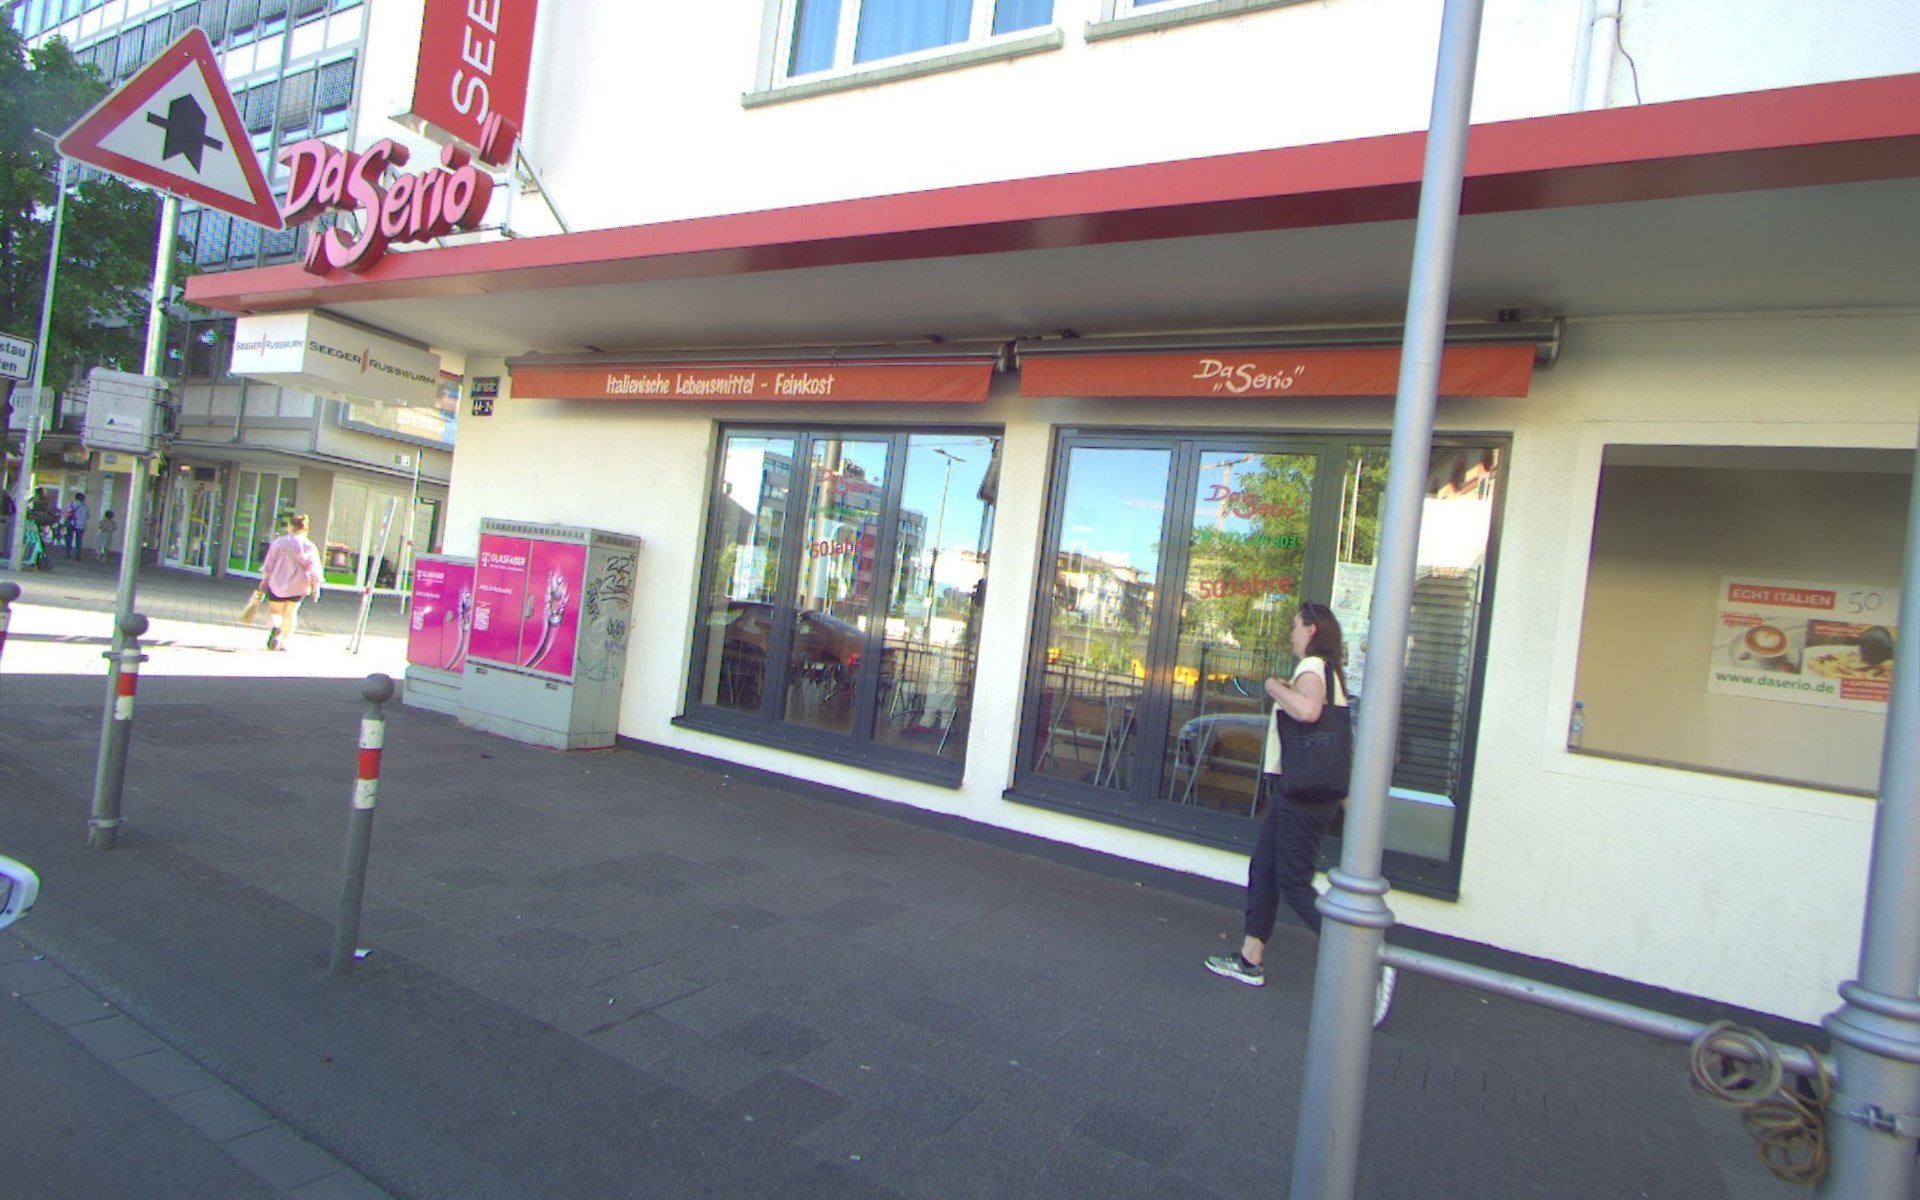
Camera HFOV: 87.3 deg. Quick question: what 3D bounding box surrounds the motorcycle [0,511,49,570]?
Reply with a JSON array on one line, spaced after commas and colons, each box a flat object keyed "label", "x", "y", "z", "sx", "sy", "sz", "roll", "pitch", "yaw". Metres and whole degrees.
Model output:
[{"label": "motorcycle", "x": -21.601, "y": -1.402, "z": 22.431, "sx": 0.532, "sy": 1.186, "sz": 1.711, "roll": 7, "pitch": -2, "yaw": 30}]

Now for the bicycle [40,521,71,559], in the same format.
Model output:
[{"label": "bicycle", "x": -26.902, "y": -1.794, "z": 29.912, "sx": 1.237, "sy": 1.046, "sz": 0.332, "roll": 6, "pitch": -1, "yaw": 36}]

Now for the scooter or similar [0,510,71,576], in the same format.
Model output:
[{"label": "scooter or similar", "x": -19.970, "y": -1.237, "z": 21.201, "sx": 1.628, "sy": 1.229, "sz": 0.640, "roll": 8, "pitch": -1, "yaw": -29}]

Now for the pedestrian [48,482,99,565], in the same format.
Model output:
[{"label": "pedestrian", "x": -22.996, "y": -1.991, "z": 26.099, "sx": 0.570, "sy": 2.037, "sz": 0.663, "roll": 6, "pitch": -1, "yaw": 34}]

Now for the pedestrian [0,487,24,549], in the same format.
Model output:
[{"label": "pedestrian", "x": -27.545, "y": -2.379, "z": 28.832, "sx": 0.764, "sy": 1.681, "sz": 0.701, "roll": 6, "pitch": -1, "yaw": 32}]

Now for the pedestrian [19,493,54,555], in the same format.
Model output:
[{"label": "pedestrian", "x": -27.161, "y": -2.232, "z": 29.588, "sx": 0.397, "sy": 1.730, "sz": 0.526, "roll": 6, "pitch": -1, "yaw": 38}]

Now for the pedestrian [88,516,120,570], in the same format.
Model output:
[{"label": "pedestrian", "x": -22.681, "y": -1.512, "z": 26.643, "sx": 0.504, "sy": 1.359, "sz": 0.390, "roll": 6, "pitch": -1, "yaw": 34}]

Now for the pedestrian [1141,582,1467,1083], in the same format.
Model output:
[{"label": "pedestrian", "x": 1.523, "y": 0.896, "z": 4.376, "sx": 1.020, "sy": 1.773, "sz": 0.916, "roll": 7, "pitch": 0, "yaw": 28}]

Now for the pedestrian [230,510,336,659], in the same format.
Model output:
[{"label": "pedestrian", "x": -8.369, "y": -0.182, "z": 12.454, "sx": 0.884, "sy": 1.687, "sz": 0.801, "roll": 8, "pitch": -1, "yaw": -35}]
